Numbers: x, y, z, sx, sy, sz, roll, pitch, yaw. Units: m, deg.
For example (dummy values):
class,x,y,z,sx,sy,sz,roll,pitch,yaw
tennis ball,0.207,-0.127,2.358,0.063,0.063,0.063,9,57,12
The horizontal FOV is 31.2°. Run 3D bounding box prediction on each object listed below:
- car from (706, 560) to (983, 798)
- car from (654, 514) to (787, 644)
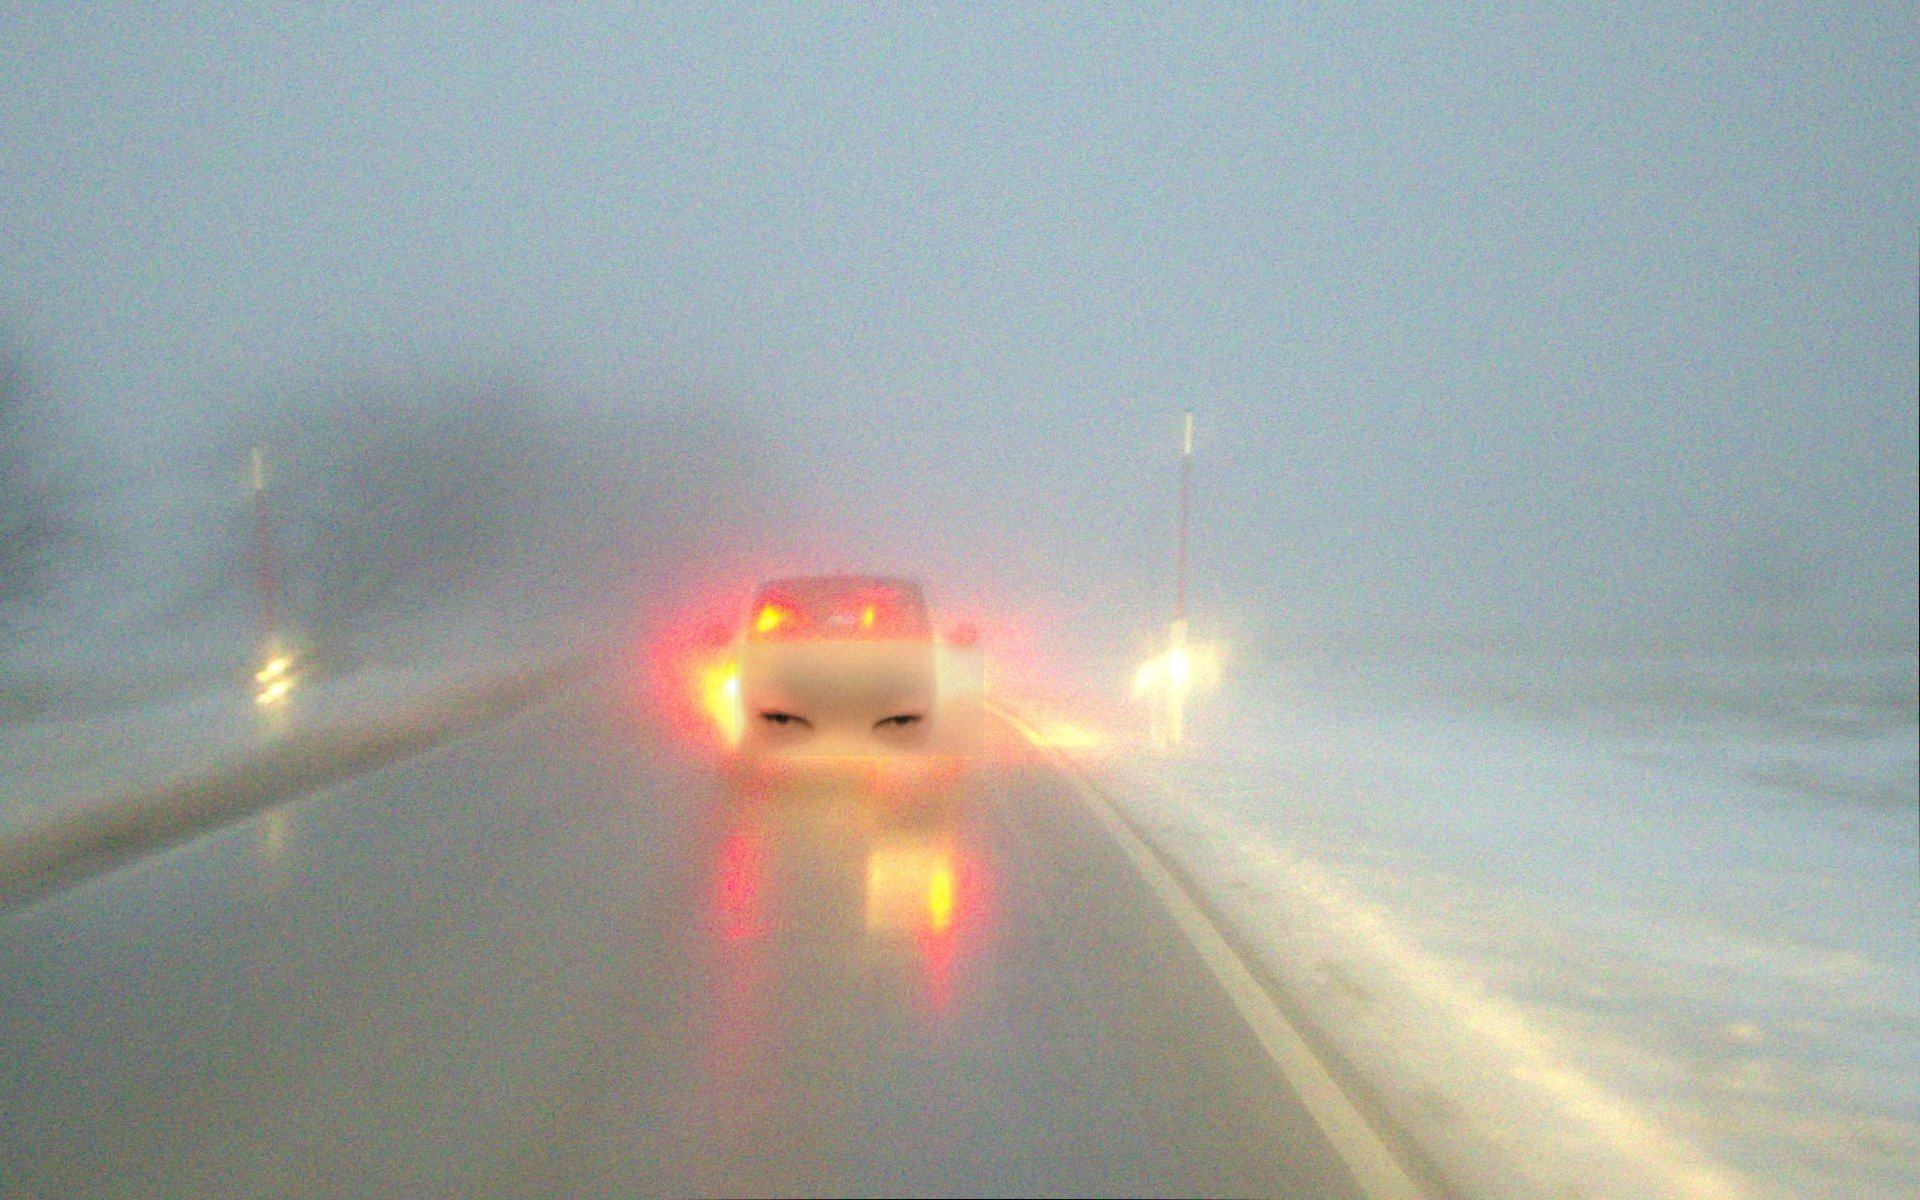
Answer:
class,x,y,z,sx,sy,sz,roll,pitch,yaw
car,-0.790,0.493,23.352,1.707,1.458,4.000,1,0,-2
car,-2.900,-0.242,42.040,1.478,1.503,3.053,-1,0,-2
